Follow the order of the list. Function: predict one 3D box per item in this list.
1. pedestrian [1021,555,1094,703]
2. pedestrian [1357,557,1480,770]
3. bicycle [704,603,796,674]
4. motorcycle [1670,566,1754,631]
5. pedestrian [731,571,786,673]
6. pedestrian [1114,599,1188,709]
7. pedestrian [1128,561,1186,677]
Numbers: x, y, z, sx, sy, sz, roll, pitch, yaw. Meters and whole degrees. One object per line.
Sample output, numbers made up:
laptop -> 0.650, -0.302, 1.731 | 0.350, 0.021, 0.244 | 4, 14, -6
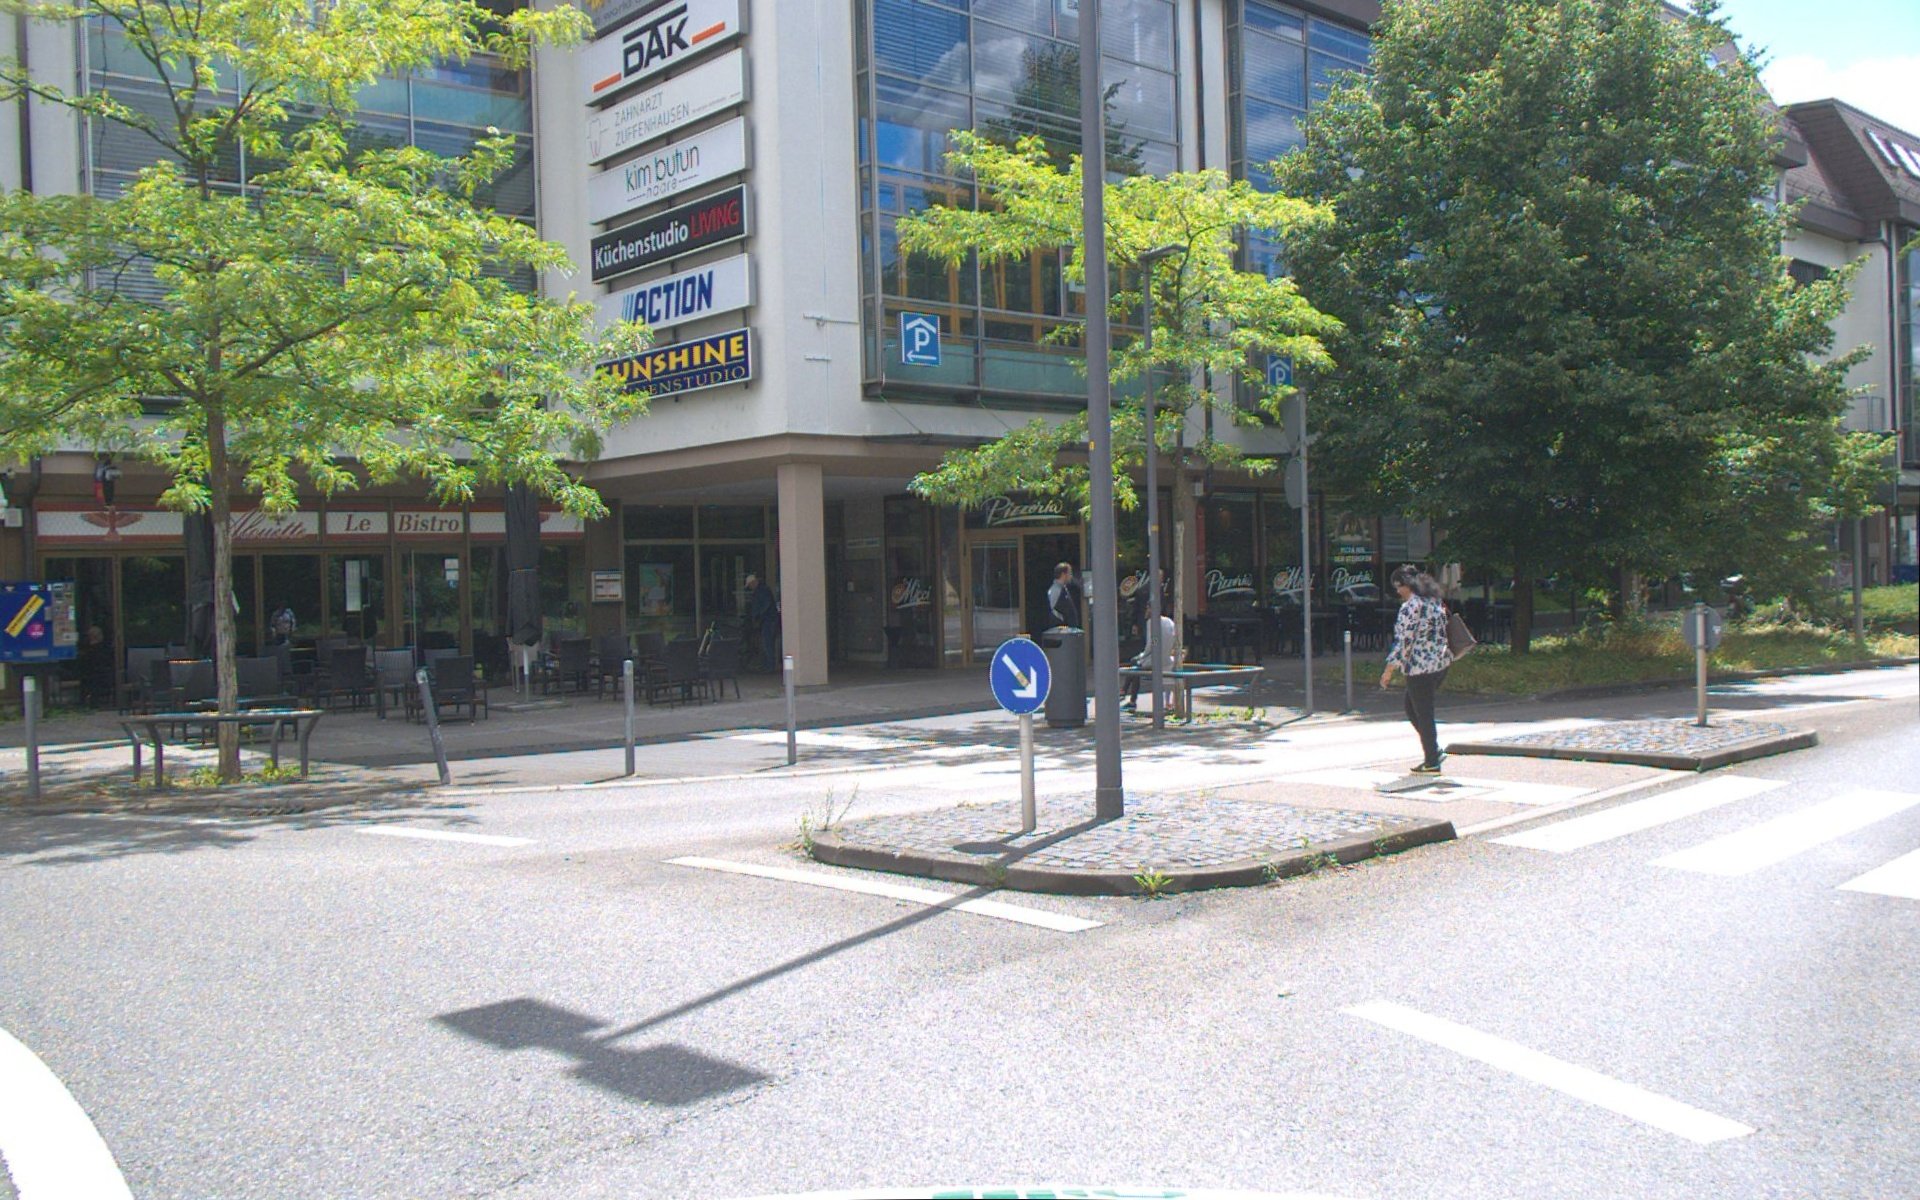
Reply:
pedestrian -> 1.248, 0.357, 21.236 | 0.611, 1.850, 0.688 | -2, 1, -39
pedestrian -> 3.493, 0.468, 12.658 | 0.747, 1.581, 0.780 | 0, 0, 3
bicycle -> -3.568, 0.650, 28.138 | 1.506, 1.188, 0.496 | 0, -1, 0
motorcycle -> 16.331, -0.040, 35.889 | 2.168, 1.314, 0.845 | -2, 1, -42
pedestrian -> -3.422, 0.355, 28.093 | 0.693, 1.704, 0.607 | -1, 0, -45
pedestrian -> 2.337, 0.644, 20.241 | 0.609, 1.307, 0.690 | -1, 0, -32
pedestrian -> 2.941, 0.274, 24.642 | 0.604, 1.704, 0.696 | 0, 0, 33
